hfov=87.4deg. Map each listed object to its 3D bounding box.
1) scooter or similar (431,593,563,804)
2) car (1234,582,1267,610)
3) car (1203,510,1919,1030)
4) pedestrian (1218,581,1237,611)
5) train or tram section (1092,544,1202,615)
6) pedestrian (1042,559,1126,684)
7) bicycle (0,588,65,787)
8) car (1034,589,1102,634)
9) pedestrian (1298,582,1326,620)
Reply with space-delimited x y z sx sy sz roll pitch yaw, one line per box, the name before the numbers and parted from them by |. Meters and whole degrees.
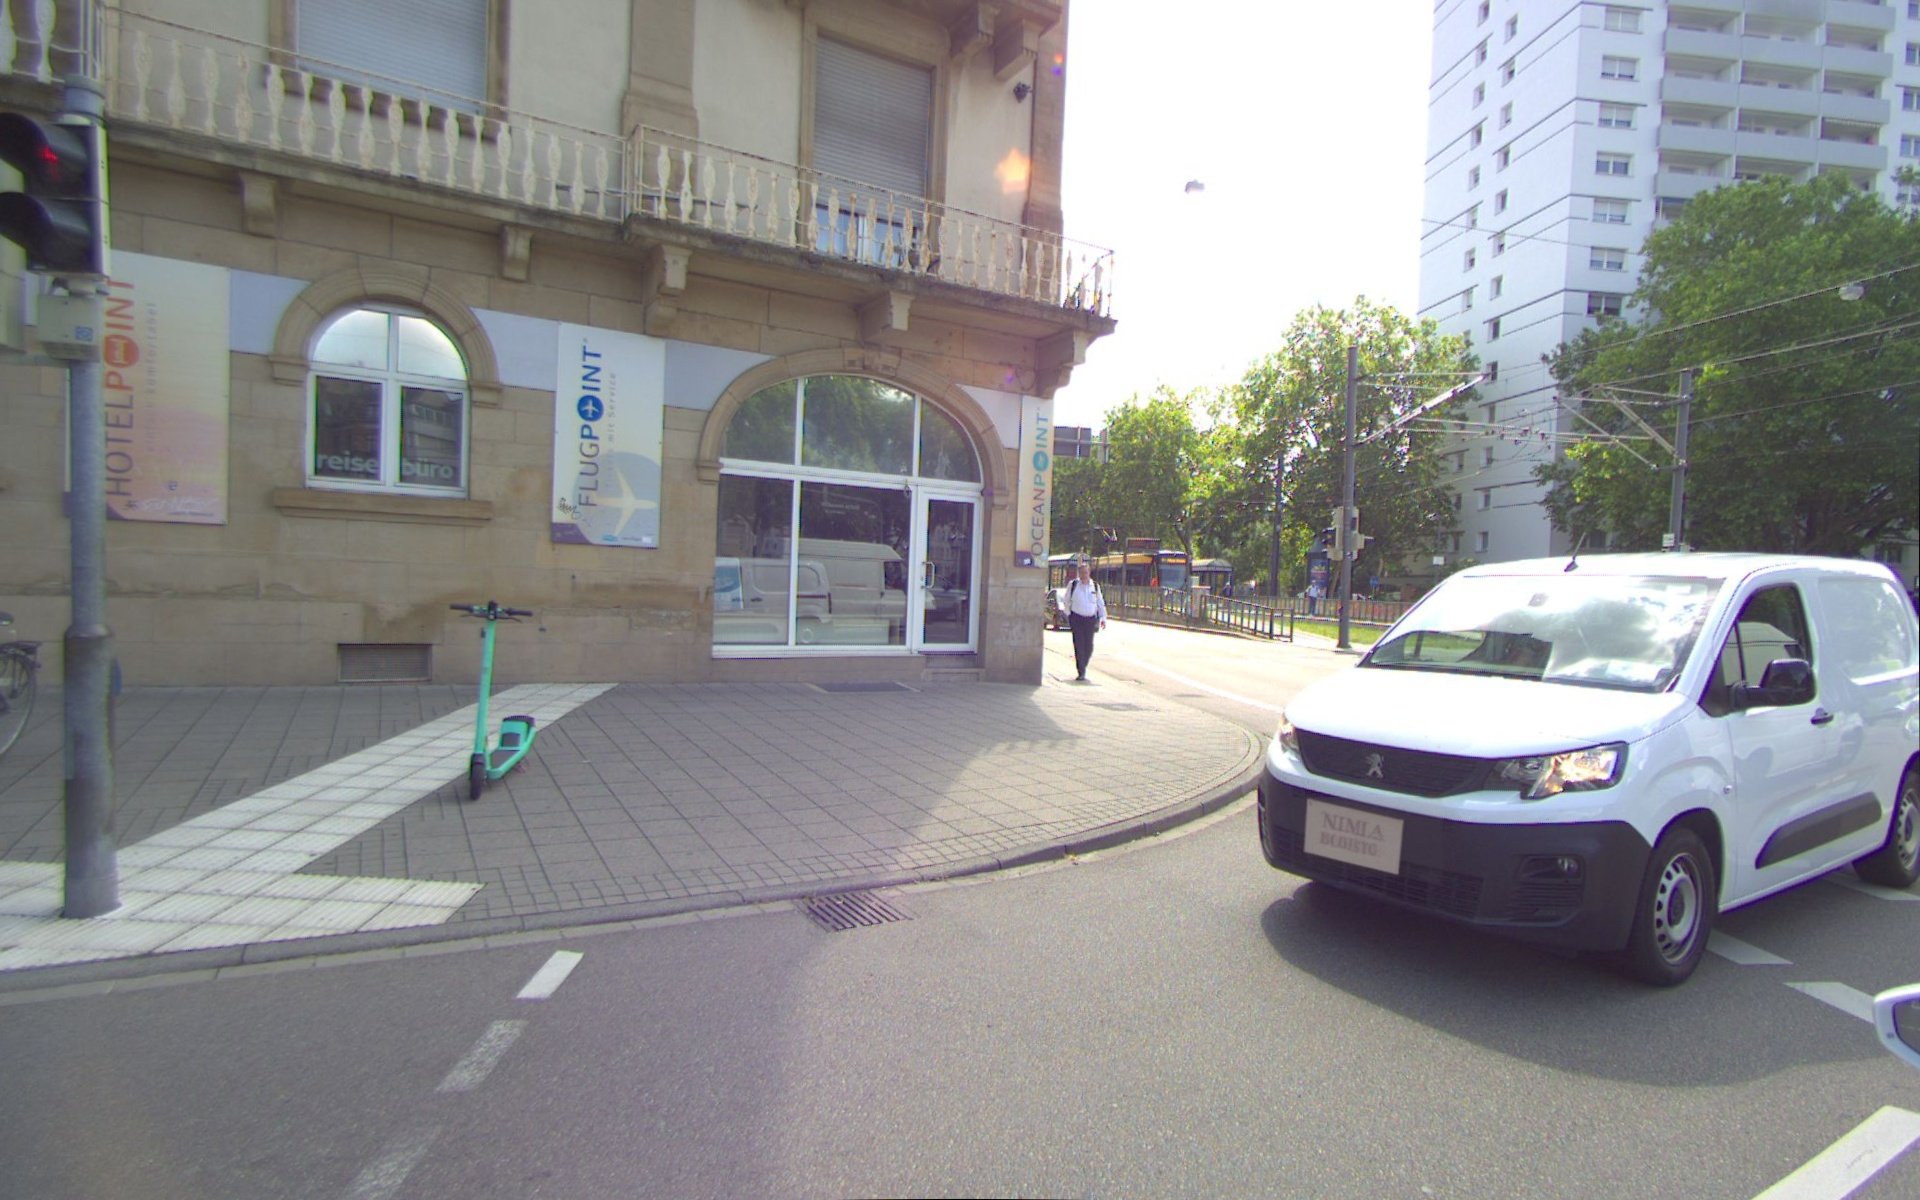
scooter or similar | -2.947 0.579 6.483 0.473 1.161 1.250 3 3 -12
car | 30.177 -0.439 104.516 1.779 2.812 4.274 2 1 -6
car | 3.483 0.587 5.373 4.236 1.799 1.802 0 1 -32
pedestrian | 16.508 -0.276 62.035 0.844 1.798 0.876 2 1 -6
train or tram section | 10.772 -1.206 59.619 2.763 3.632 13.002 3 1 -6
pedestrian | 1.976 0.336 16.054 0.895 1.884 0.798 4 1 -30
bicycle | -5.561 0.507 5.507 0.473 1.066 1.436 2 3 -20
car | 3.802 0.367 35.857 1.608 1.458 3.639 2 1 -7
pedestrian | 17.059 0.041 48.720 0.835 1.804 1.044 2 1 -5
